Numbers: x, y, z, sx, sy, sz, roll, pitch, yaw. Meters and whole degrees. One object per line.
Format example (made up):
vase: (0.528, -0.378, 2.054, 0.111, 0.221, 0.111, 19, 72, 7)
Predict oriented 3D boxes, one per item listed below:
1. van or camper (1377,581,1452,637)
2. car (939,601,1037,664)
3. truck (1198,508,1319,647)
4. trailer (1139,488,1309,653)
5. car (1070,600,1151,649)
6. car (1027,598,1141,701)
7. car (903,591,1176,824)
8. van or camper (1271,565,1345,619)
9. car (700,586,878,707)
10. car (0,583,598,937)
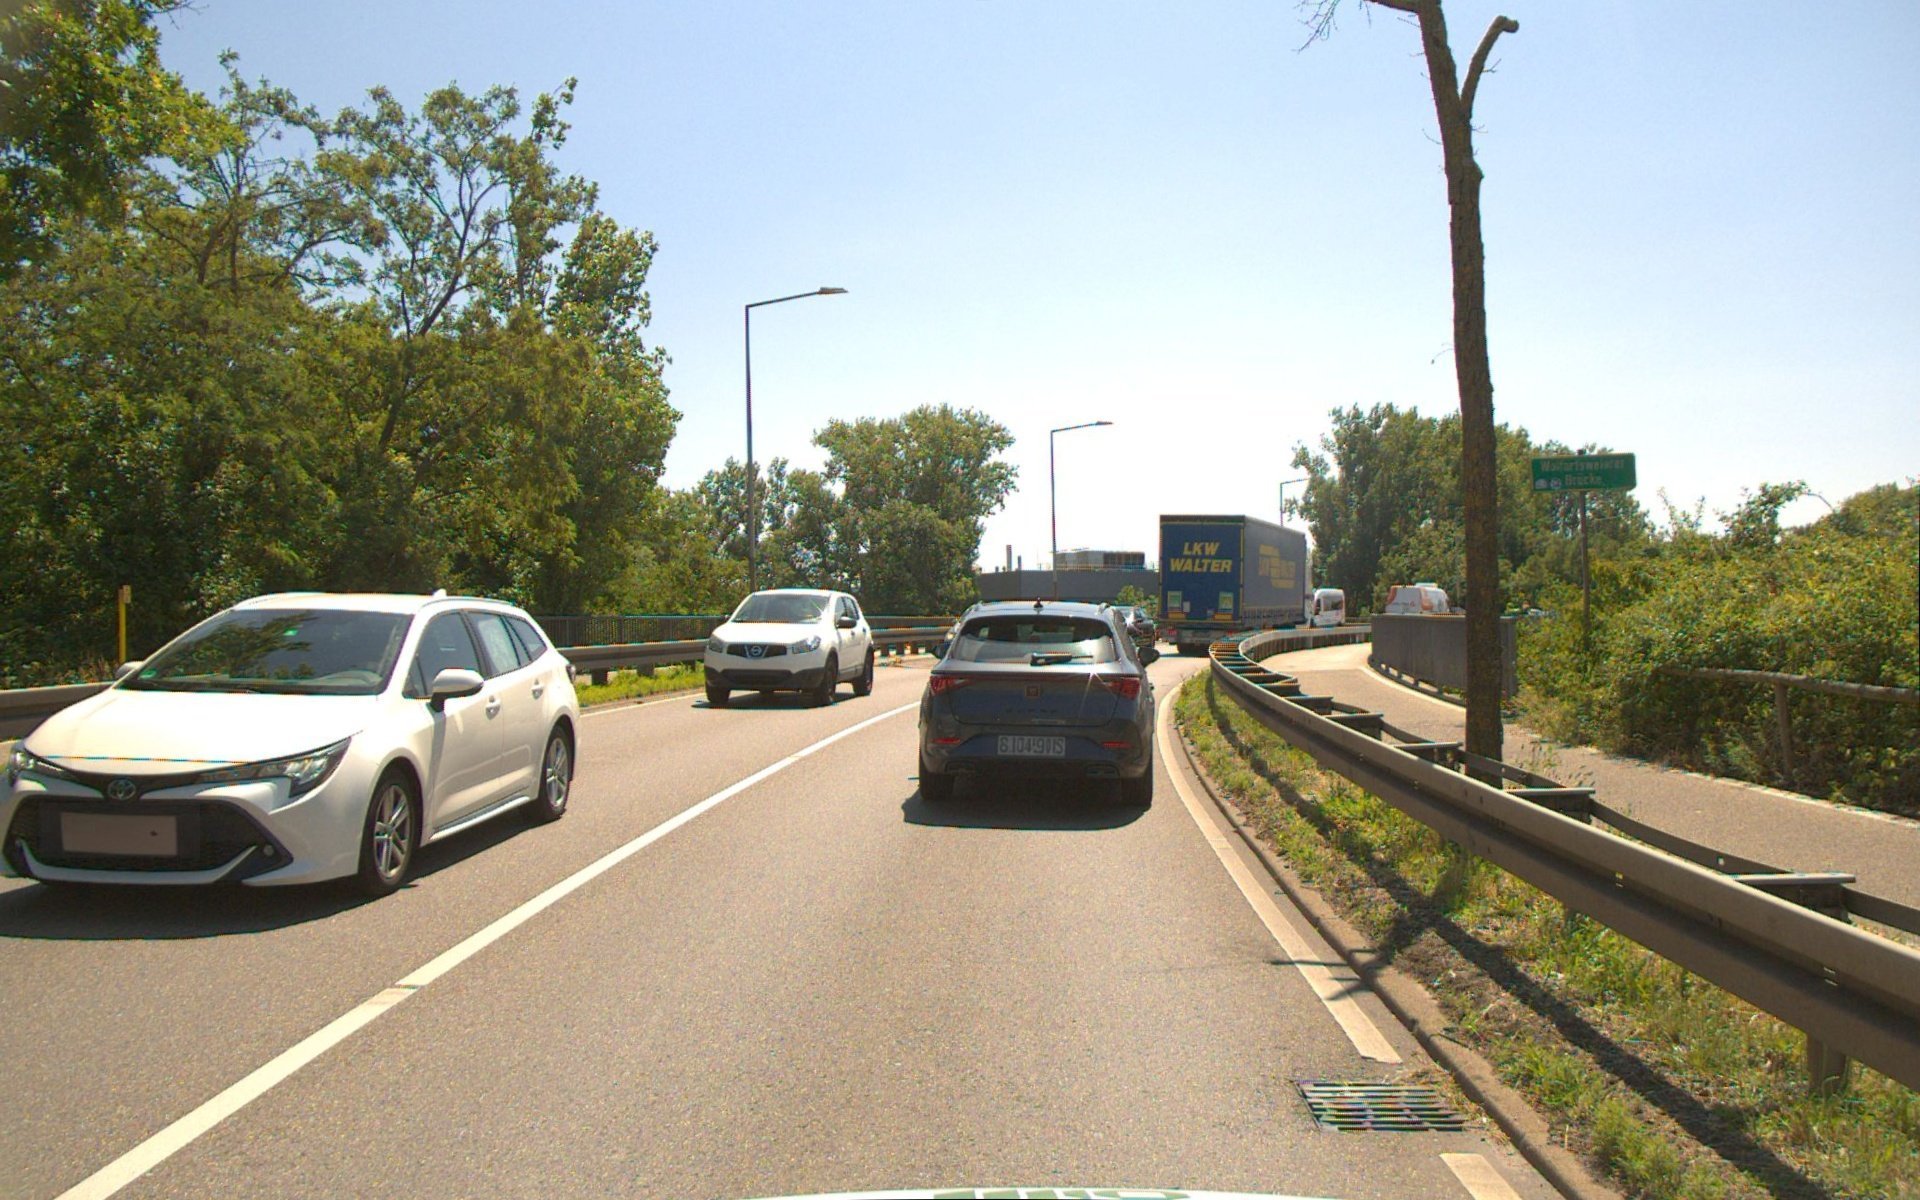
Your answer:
van or camper: (23.164, 0.436, 84.198, 2.163, 2.759, 5.912, 0, 0, 31)
car: (0.742, 0.755, 40.215, 1.679, 1.453, 4.111, 1, 0, 11)
truck: (10.866, -0.711, 59.574, 3.104, 4.665, 7.398, 1, -1, 19)
trailer: (8.906, -0.786, 53.996, 3.069, 4.695, 12.950, 2, 0, 20)
car: (4.867, 0.785, 53.060, 1.719, 1.468, 4.571, 1, 0, 16)
car: (2.044, 0.747, 26.448, 1.559, 1.486, 3.547, 2, 0, 8)
car: (0.671, 0.718, 12.957, 1.807, 1.525, 3.760, 1, 0, 4)
van or camper: (17.416, -0.389, 82.510, 2.009, 2.582, 5.874, 0, 0, 29)
car: (-2.369, 0.623, 24.053, 1.709, 1.573, 4.396, 1, 0, 6)
car: (-3.470, 0.681, 9.296, 1.665, 1.472, 4.461, 1, 0, 3)
